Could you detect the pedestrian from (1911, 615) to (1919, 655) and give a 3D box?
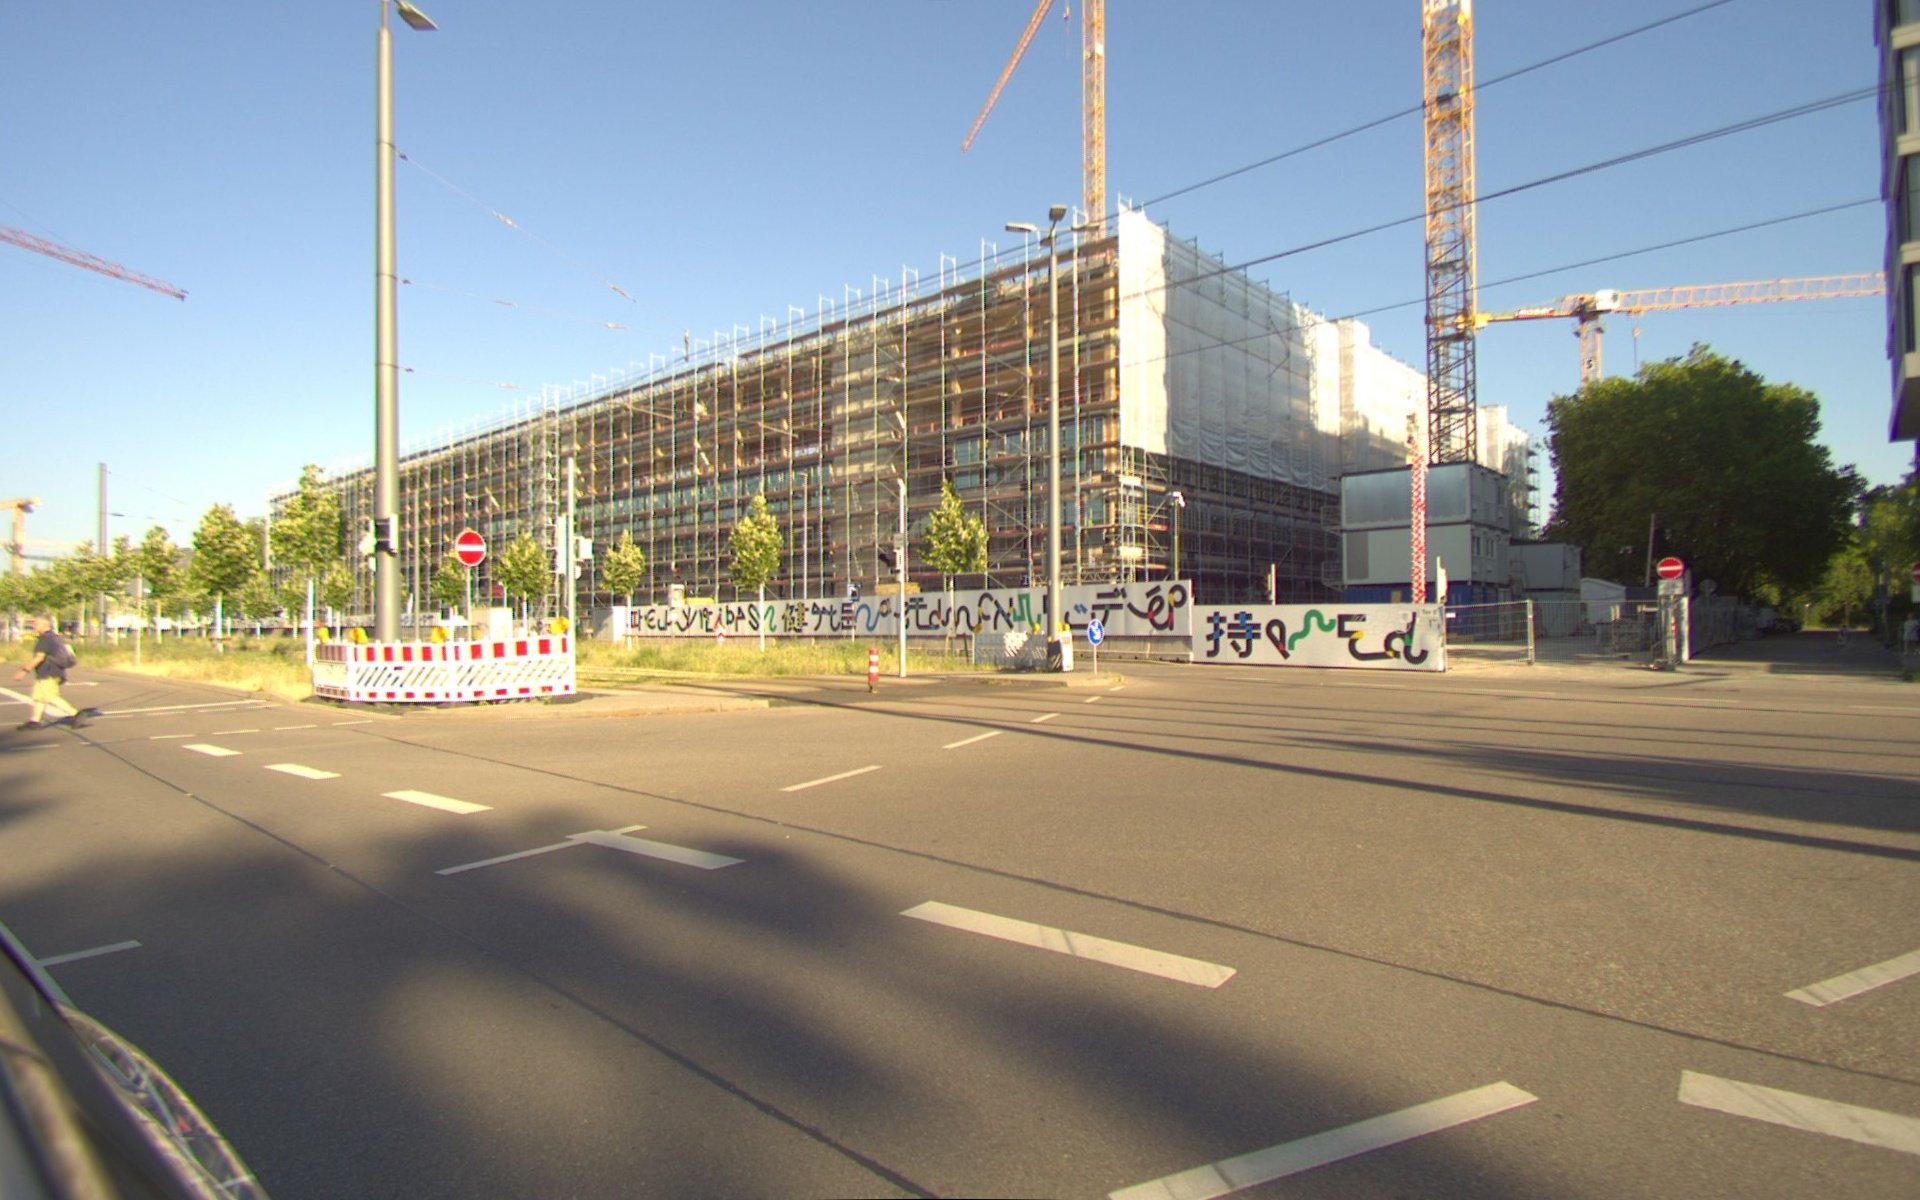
[{"bbox_3d":[37.251,1.357,39.072,0.574,1.547,0.705,1,-2,-42],"label":"pedestrian"}]

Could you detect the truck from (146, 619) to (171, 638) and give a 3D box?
[{"bbox_3d":[-112.790,4.041,142.449,4.740,2.593,2.114,-2,-2,43],"label":"truck"}]

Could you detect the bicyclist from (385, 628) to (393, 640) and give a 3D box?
[{"bbox_3d":[-55.086,3.317,97.659,0.638,1.162,0.473,-2,-2,42],"label":"bicyclist"}]

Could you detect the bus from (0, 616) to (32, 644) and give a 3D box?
[{"bbox_3d":[-113.959,3.670,122.145,2.685,3.247,8.663,1,-2,-44],"label":"bus"}]

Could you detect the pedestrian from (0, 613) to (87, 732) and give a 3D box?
[{"bbox_3d":[-13.332,1.025,14.729,0.912,1.661,0.767,1,-2,-39],"label":"pedestrian"}]

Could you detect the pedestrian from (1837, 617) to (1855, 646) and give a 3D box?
[{"bbox_3d":[48.255,1.702,55.120,0.711,1.559,0.669,-2,-2,44],"label":"pedestrian"}]

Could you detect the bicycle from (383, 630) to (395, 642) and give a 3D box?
[{"bbox_3d":[-55.119,3.481,97.691,1.564,1.069,0.473,-2,-2,42],"label":"bicycle"}]
